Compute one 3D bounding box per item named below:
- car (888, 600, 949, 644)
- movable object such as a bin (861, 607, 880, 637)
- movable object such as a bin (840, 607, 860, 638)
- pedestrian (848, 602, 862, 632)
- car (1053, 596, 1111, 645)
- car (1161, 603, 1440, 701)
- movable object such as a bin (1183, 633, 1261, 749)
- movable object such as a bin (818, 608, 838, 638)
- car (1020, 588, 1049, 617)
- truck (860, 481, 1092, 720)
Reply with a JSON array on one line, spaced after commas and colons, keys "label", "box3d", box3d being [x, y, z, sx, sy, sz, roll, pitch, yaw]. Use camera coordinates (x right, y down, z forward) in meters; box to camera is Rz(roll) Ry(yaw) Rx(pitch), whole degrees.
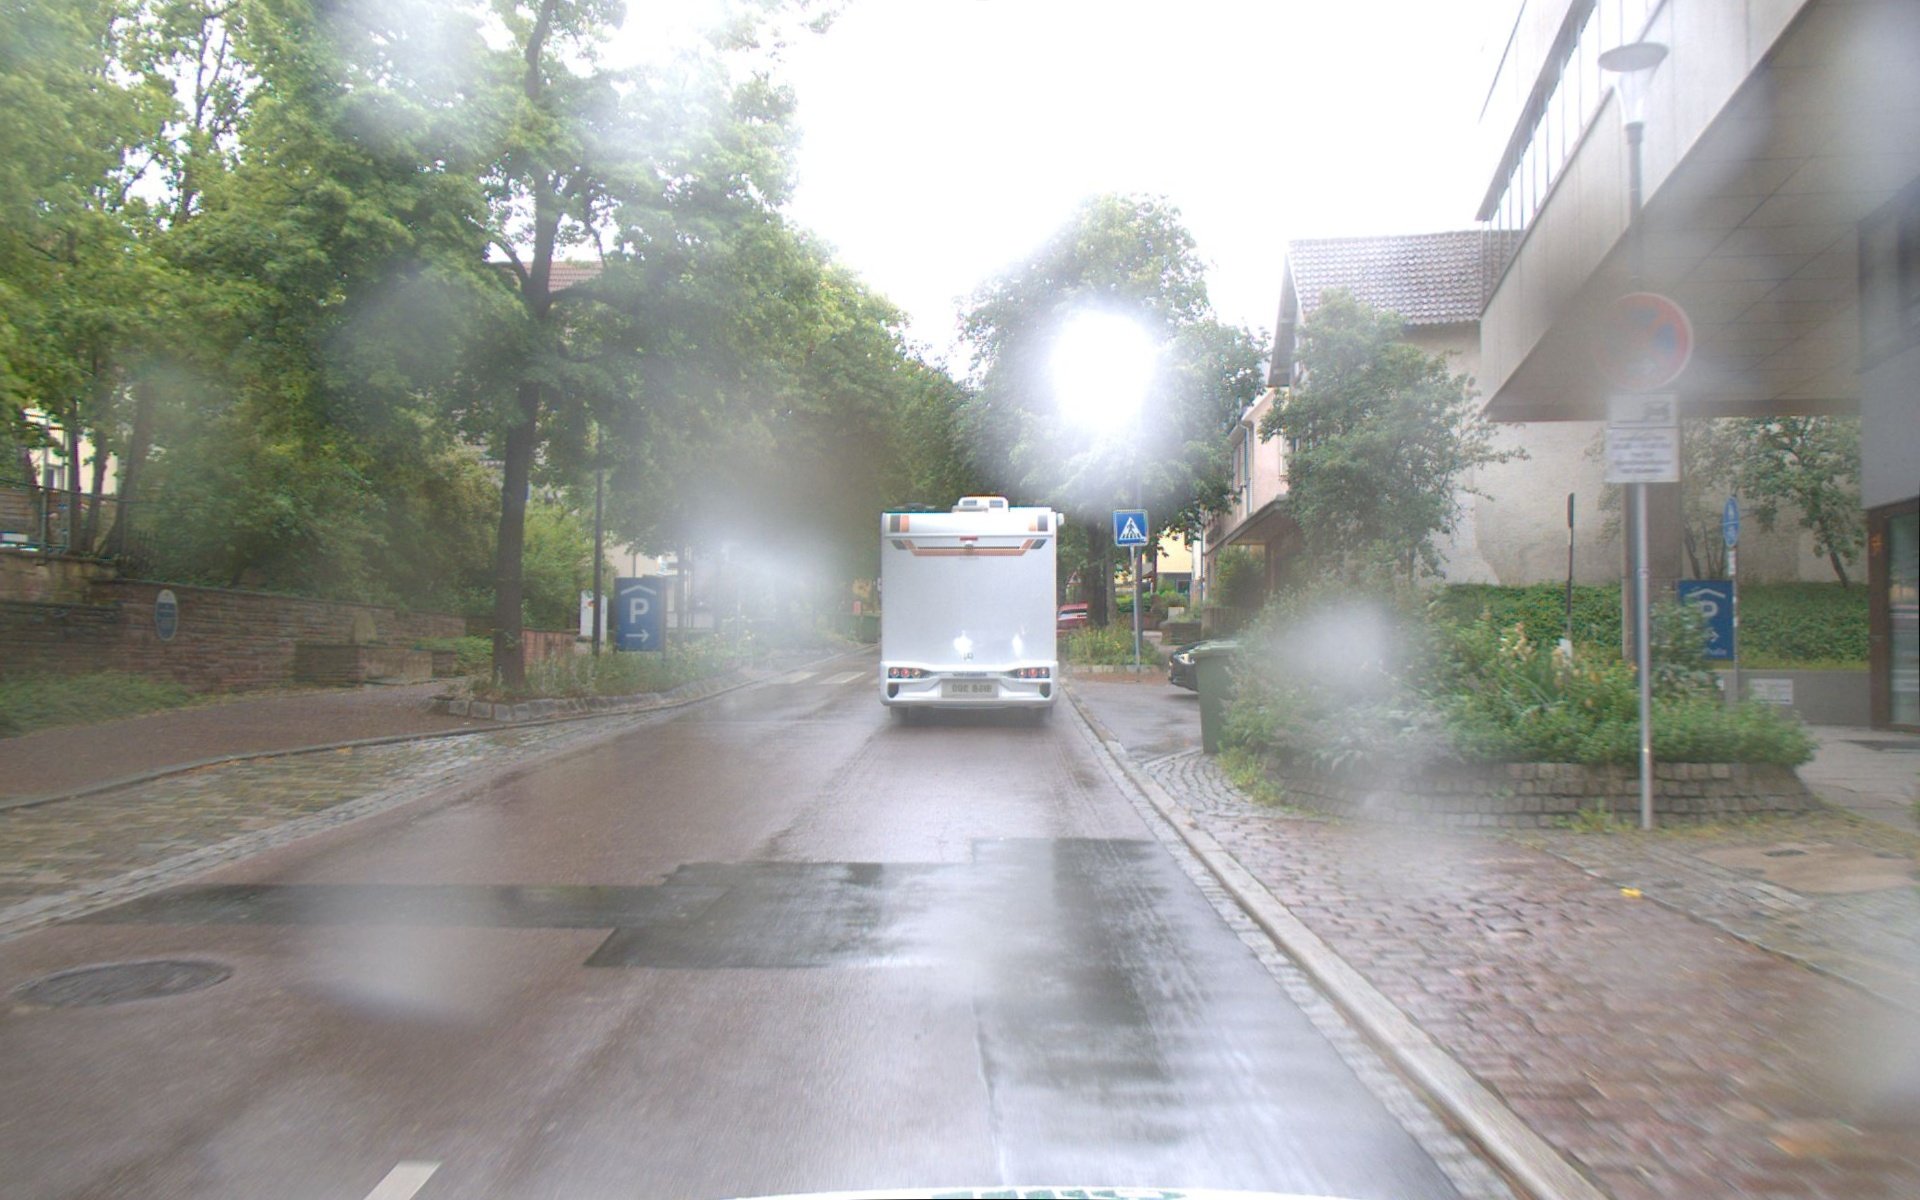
[{"label": "car", "box3d": [-1.448, 0.761, 59.290, 1.817, 1.409, 4.410, 2, 0, 2]}, {"label": "movable object such as a bin", "box3d": [-3.327, 0.812, 61.427, 0.656, 1.114, 0.817, 0, -1, 1]}, {"label": "movable object such as a bin", "box3d": [-4.094, 0.833, 61.417, 0.656, 1.124, 0.817, 0, -1, 1]}, {"label": "pedestrian", "box3d": [-6.655, 1.066, 105.194, 0.800, 1.876, 0.770, 0, -1, 1]}, {"label": "car", "box3d": [4.032, 0.651, 54.667, 1.816, 1.498, 4.367, 1, 0, 4]}, {"label": "car", "box3d": [5.508, 0.828, 27.158, 4.195, 1.441, 1.840, 1, 0, 0]}, {"label": "movable object such as a bin", "box3d": [2.646, 0.906, 16.667, 0.688, 1.144, 0.572, -1, -1, 17]}, {"label": "movable object such as a bin", "box3d": [-4.936, 0.852, 61.993, 0.656, 1.124, 0.817, 0, -1, 1]}, {"label": "car", "box3d": [4.262, 0.159, 94.584, 1.615, 1.569, 3.531, -1, -1, 2]}, {"label": "truck", "box3d": [0.249, 0.062, 22.933, 2.748, 2.846, 6.107, -1, -1, 1]}]
